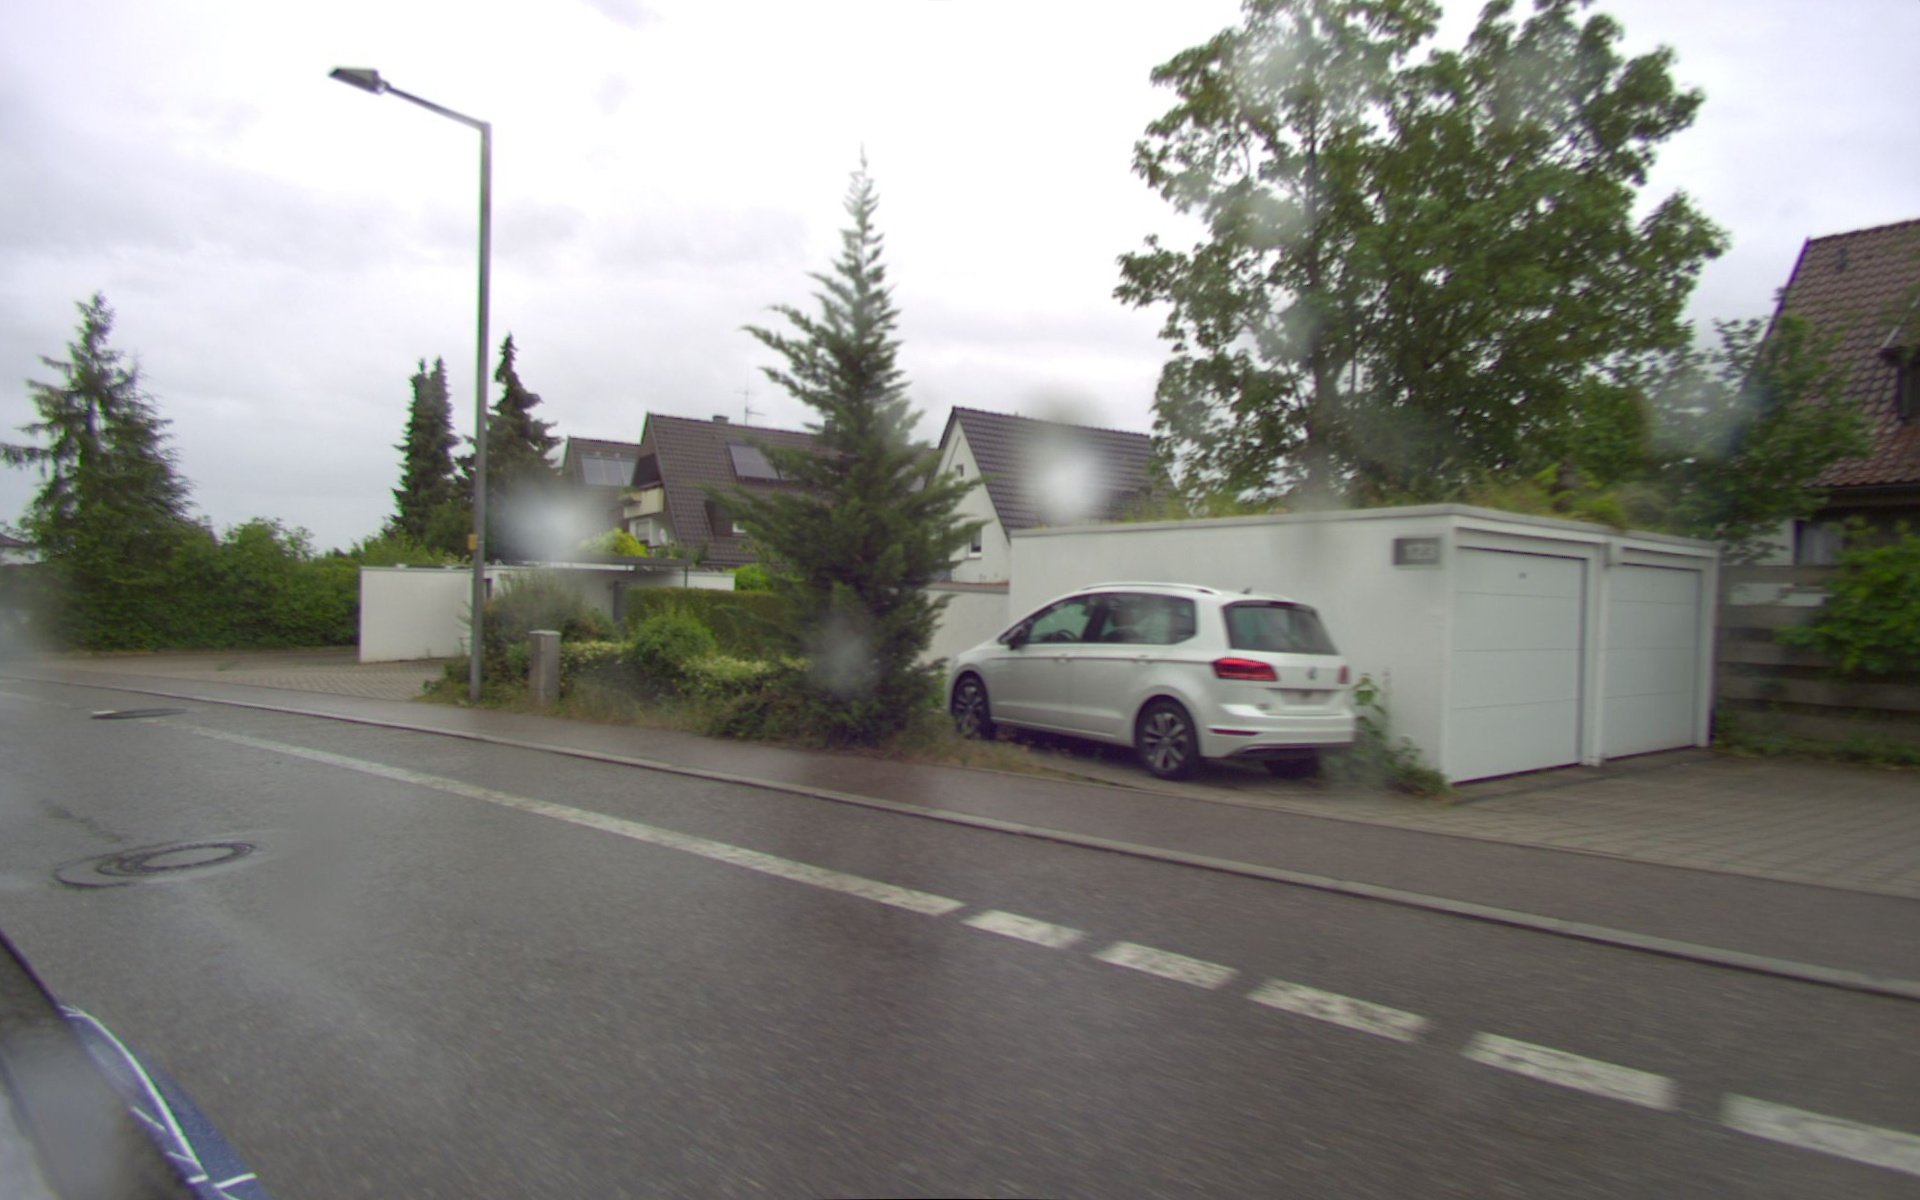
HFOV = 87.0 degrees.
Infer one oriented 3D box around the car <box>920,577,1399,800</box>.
[{"bbox_3d":[1.541,0.639,9.380,1.682,1.565,4.399,0,0,-35],"label":"car"}]
